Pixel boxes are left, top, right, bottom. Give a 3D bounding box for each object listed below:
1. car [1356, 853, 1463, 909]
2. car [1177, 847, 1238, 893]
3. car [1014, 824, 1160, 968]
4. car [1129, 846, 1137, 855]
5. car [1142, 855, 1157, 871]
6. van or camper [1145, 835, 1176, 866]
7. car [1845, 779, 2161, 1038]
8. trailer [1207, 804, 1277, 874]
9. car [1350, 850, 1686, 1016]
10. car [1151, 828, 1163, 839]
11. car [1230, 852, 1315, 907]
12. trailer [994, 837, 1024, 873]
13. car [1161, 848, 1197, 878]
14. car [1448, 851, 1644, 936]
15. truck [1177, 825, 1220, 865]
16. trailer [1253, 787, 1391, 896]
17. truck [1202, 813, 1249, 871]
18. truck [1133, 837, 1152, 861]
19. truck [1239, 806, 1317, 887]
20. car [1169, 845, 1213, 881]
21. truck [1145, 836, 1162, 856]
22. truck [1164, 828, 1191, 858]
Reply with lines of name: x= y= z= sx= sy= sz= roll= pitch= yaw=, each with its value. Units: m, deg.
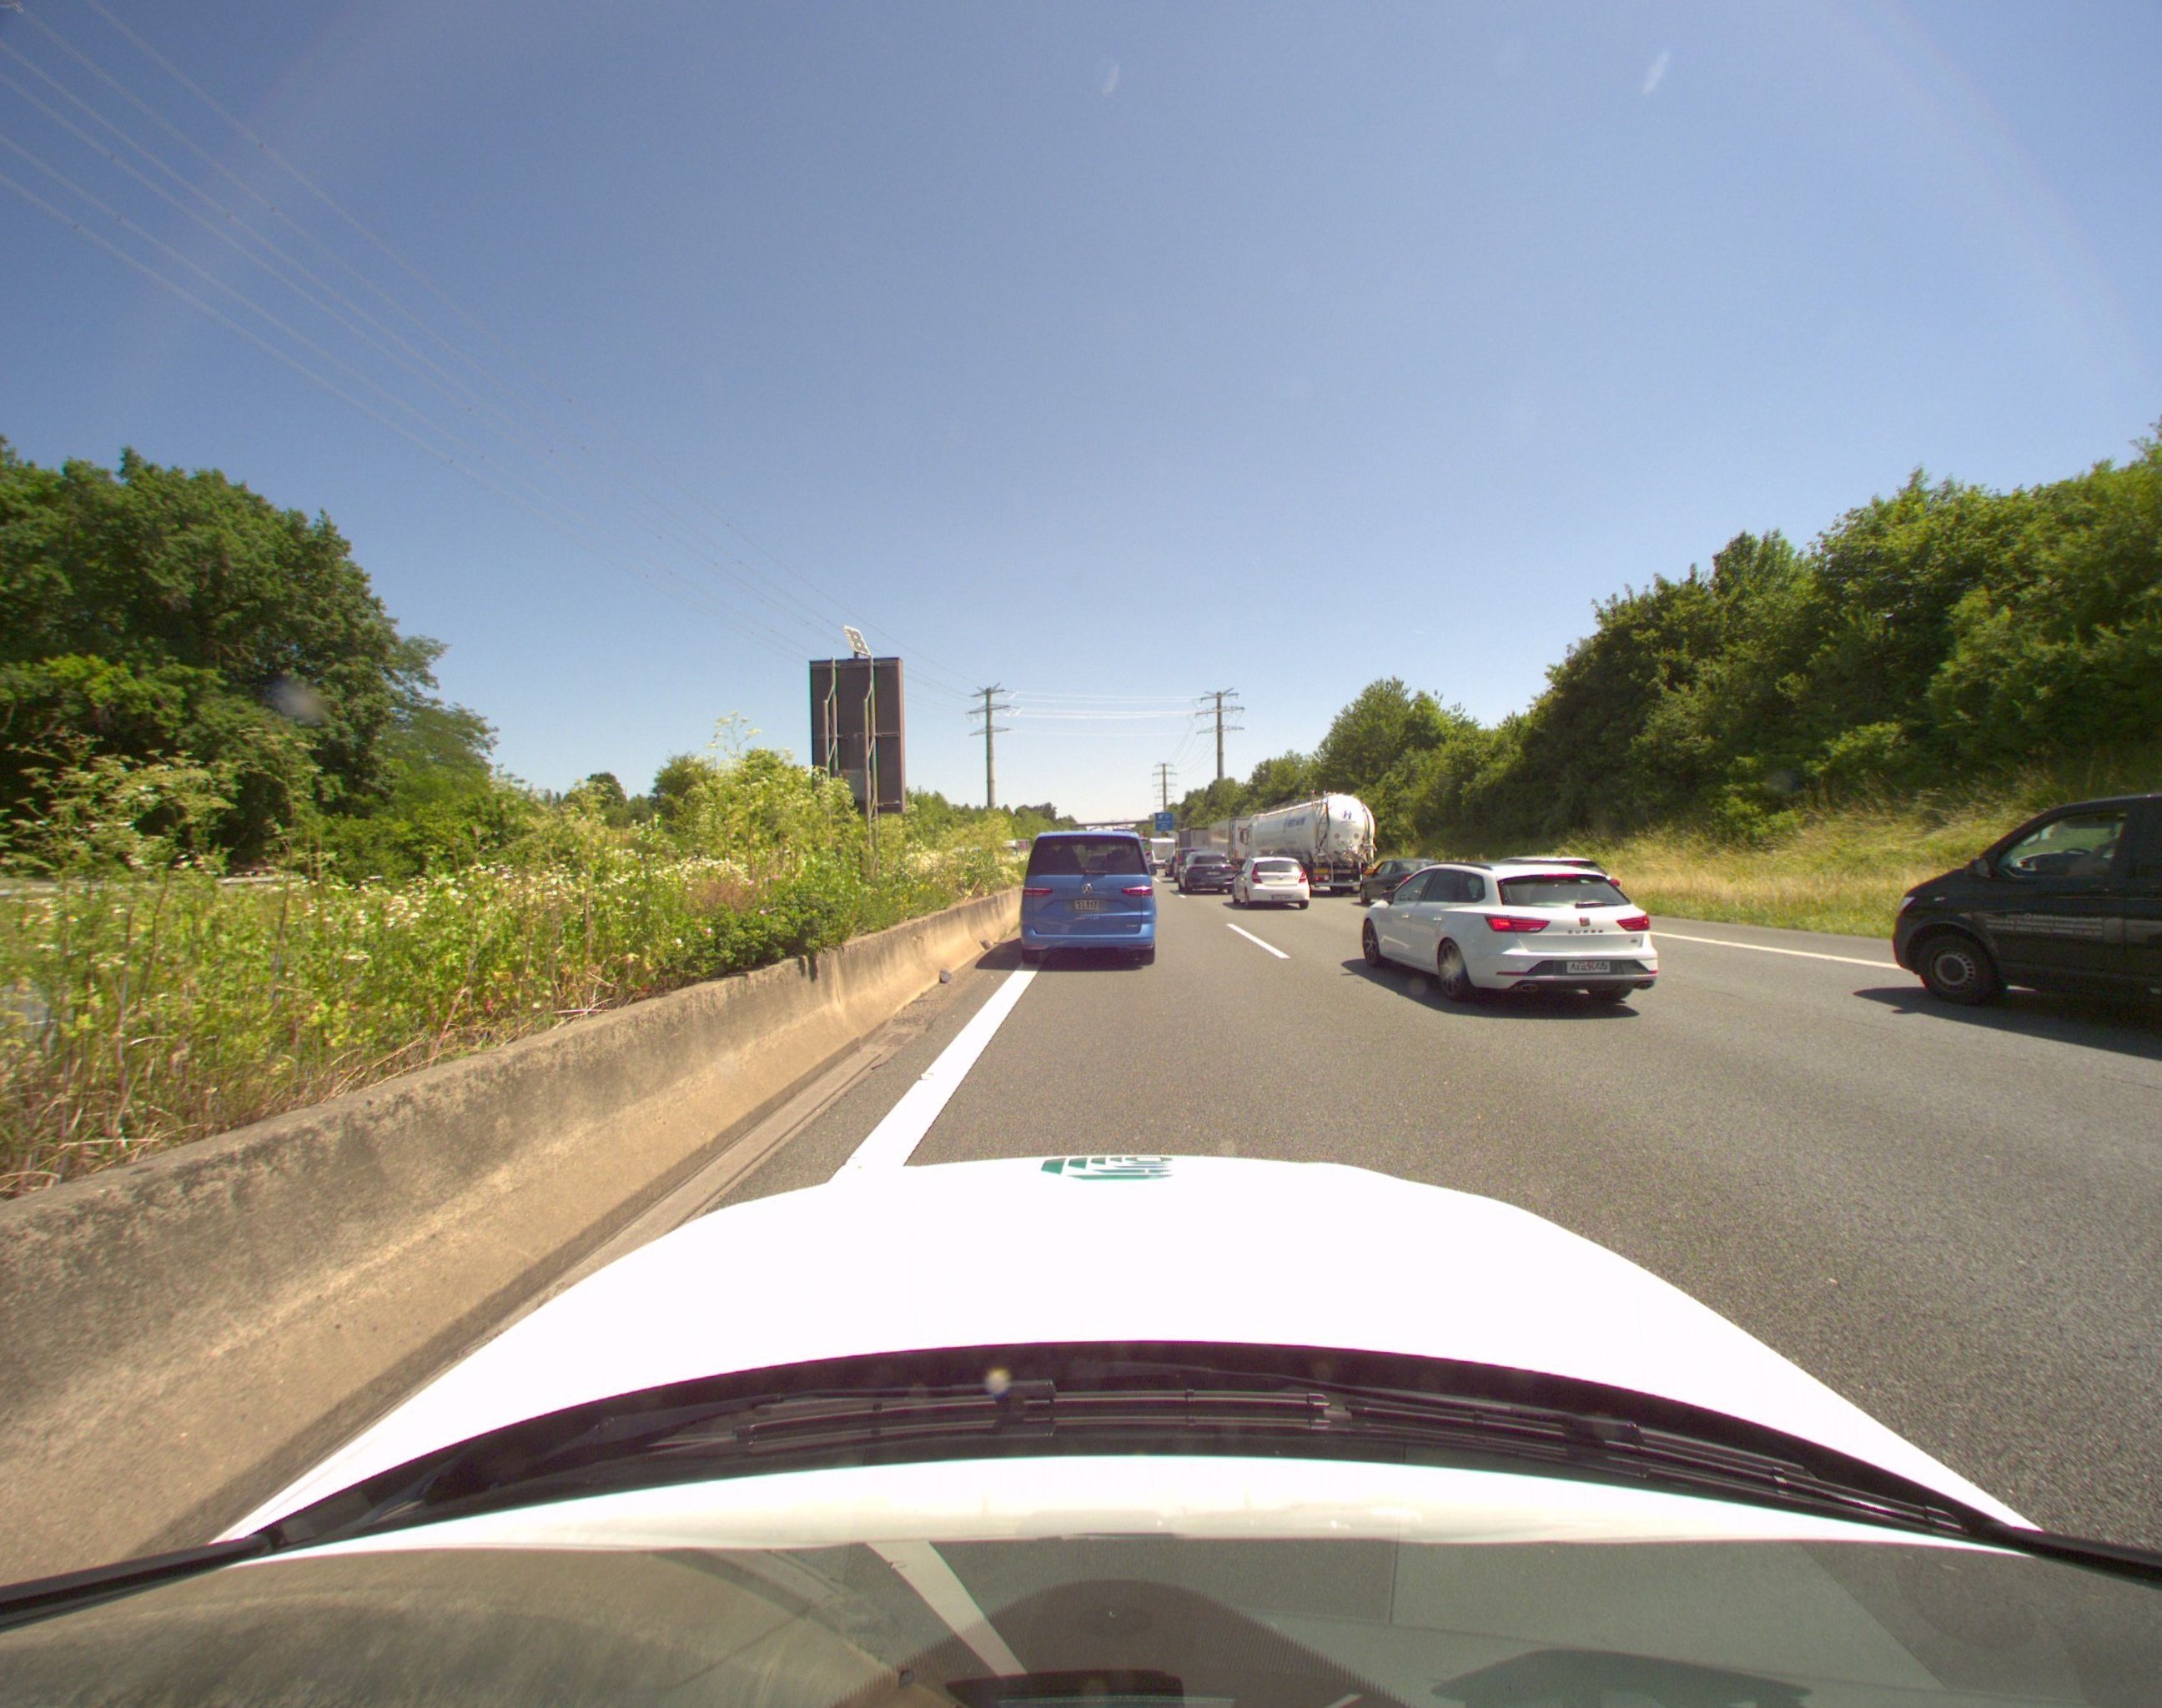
car: x=9.414 y=0.749 z=23.668 sx=1.634 sy=1.416 sz=3.991 roll=-2 pitch=-1 yaw=3
car: x=5.131 y=0.655 z=33.656 sx=1.991 sy=1.715 sz=4.628 roll=-2 pitch=-1 yaw=3
car: x=0.159 y=0.549 z=12.688 sx=1.912 sy=1.886 sz=4.002 roll=0 pitch=0 yaw=2
car: x=12.808 y=-0.816 z=201.132 sx=1.986 sy=2.126 sz=4.001 roll=-1 pitch=-1 yaw=2
car: x=9.008 y=1.206 z=107.321 sx=1.828 sy=1.998 sz=4.004 roll=-2 pitch=-1 yaw=4
van or camper: x=8.178 y=-0.279 z=84.777 sx=2.944 sy=3.022 sz=7.109 roll=-1 pitch=-1 yaw=4
car: x=9.061 y=0.387 z=6.267 sx=1.906 sy=1.940 sz=4.859 roll=-2 pitch=-1 yaw=3
trailer: x=11.440 y=-0.938 z=59.153 sx=2.901 sy=4.469 sz=12.158 roll=-2 pitch=0 yaw=2
car: x=4.626 y=0.746 z=9.468 sx=1.740 sy=1.443 sz=4.316 roll=-2 pitch=-1 yaw=3
car: x=14.278 y=-3.850 z=153.677 sx=1.985 sy=2.014 sz=4.002 roll=-1 pitch=-1 yaw=2
car: x=5.630 y=0.737 z=24.428 sx=1.809 sy=1.485 sz=4.003 roll=-2 pitch=-1 yaw=3
trailer: x=-10.485 y=0.170 z=119.217 sx=3.309 sy=5.047 sz=6.707 roll=-1 pitch=-1 yaw=2
car: x=6.771 y=0.652 z=56.619 sx=1.917 sy=1.925 sz=4.235 roll=-2 pitch=-1 yaw=0
car: x=9.068 y=0.692 z=16.317 sx=1.724 sy=1.443 sz=4.030 roll=-2 pitch=0 yaw=2
truck: x=12.040 y=-0.796 z=85.183 sx=2.993 sy=3.766 sz=15.724 roll=-1 pitch=-1 yaw=3
trailer: x=9.846 y=-0.415 z=34.942 sx=2.751 sy=3.845 sz=11.490 roll=-2 pitch=0 yaw=2
truck: x=11.688 y=-0.896 z=66.341 sx=2.901 sy=4.469 sz=5.144 roll=-2 pitch=-1 yaw=2
truck: x=10.312 y=-0.803 z=136.452 sx=2.883 sy=3.766 sz=10.148 roll=-1 pitch=-1 yaw=3
truck: x=10.089 y=-0.355 z=42.272 sx=2.782 sy=3.836 sz=5.574 roll=-2 pitch=0 yaw=2
car: x=6.276 y=0.553 z=47.007 sx=1.917 sy=1.925 sz=4.235 roll=-2 pitch=-1 yaw=0
truck: x=17.481 y=-1.898 z=196.728 sx=3.553 sy=4.517 sz=10.297 roll=-1 pitch=-1 yaw=2
truck: x=13.131 y=-1.406 z=111.863 sx=2.883 sy=3.766 sz=13.354 roll=-1 pitch=-1 yaw=3
